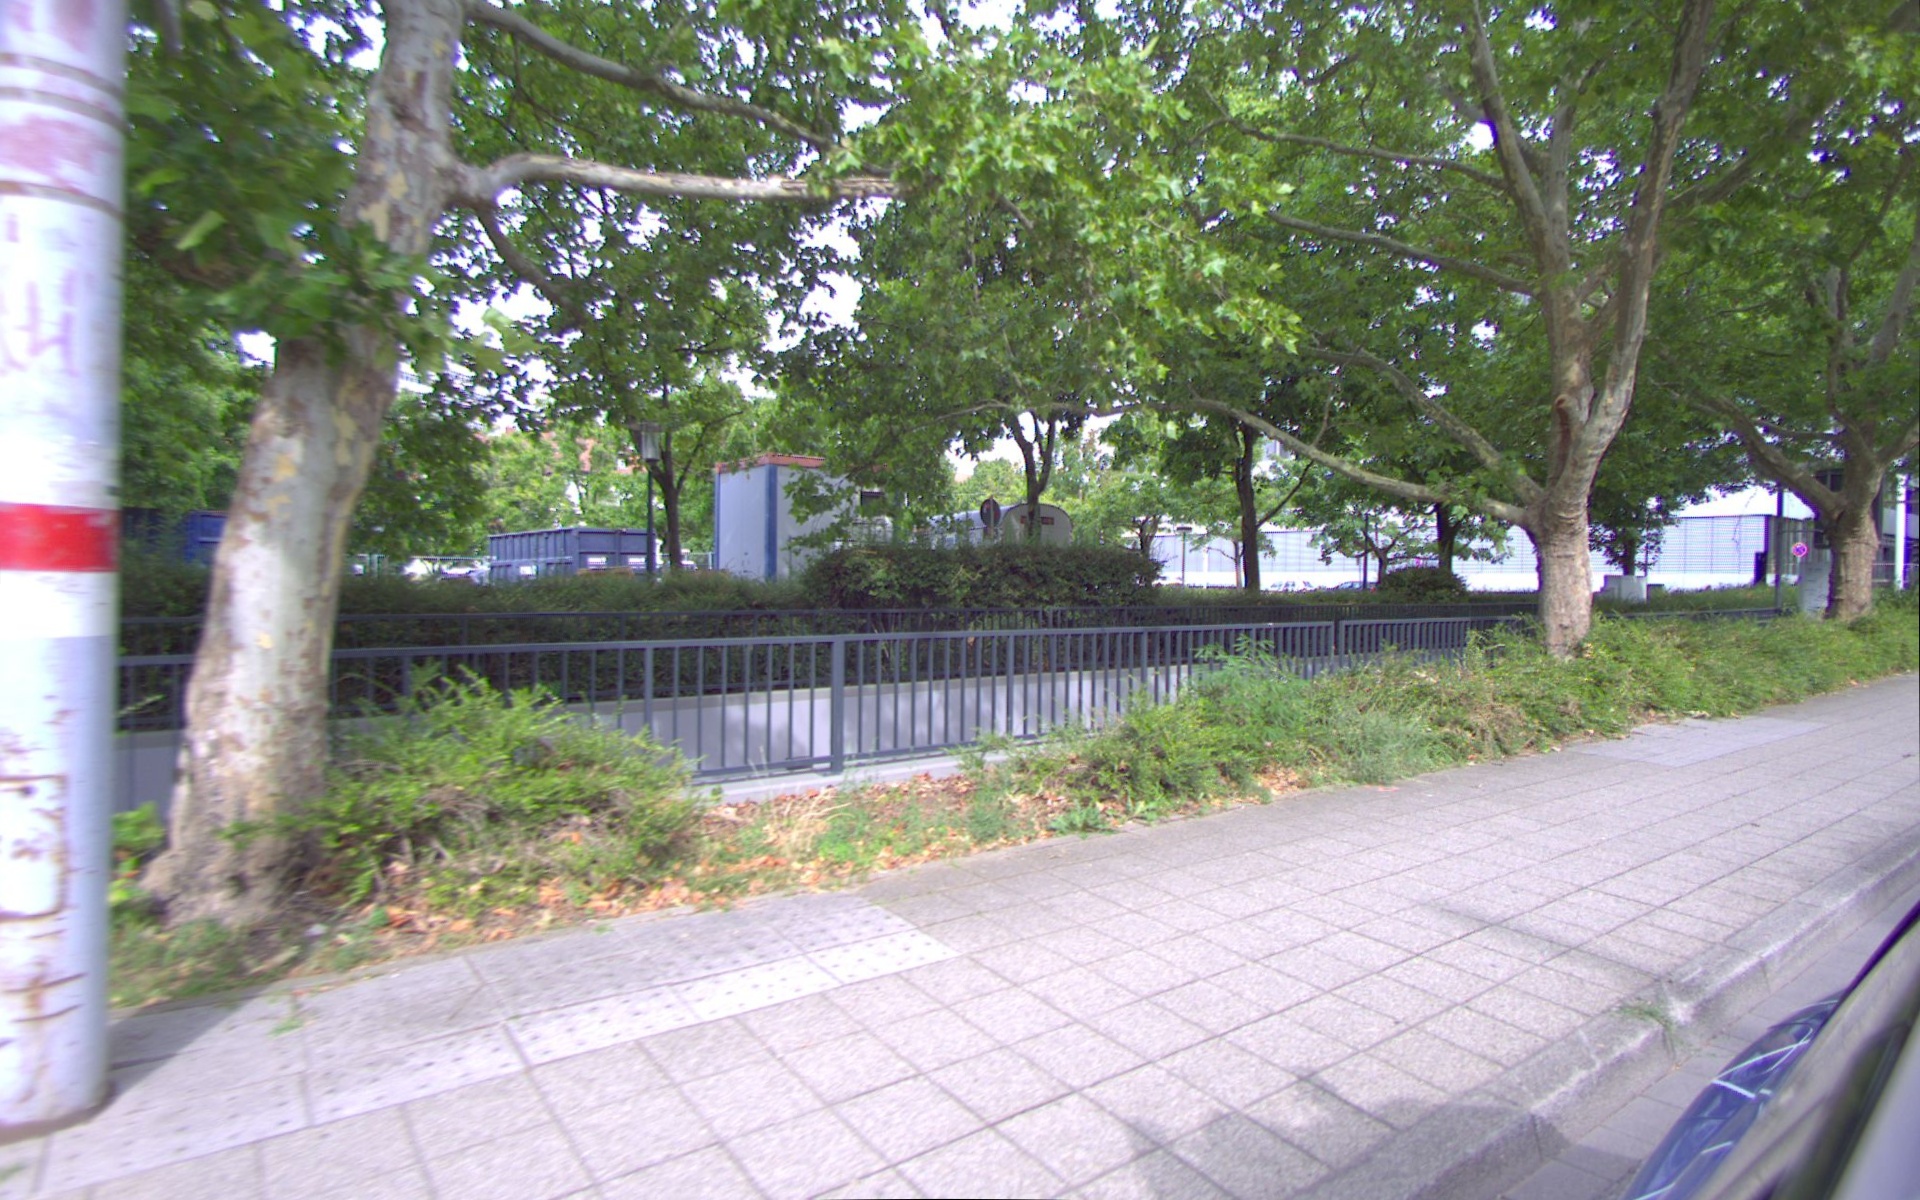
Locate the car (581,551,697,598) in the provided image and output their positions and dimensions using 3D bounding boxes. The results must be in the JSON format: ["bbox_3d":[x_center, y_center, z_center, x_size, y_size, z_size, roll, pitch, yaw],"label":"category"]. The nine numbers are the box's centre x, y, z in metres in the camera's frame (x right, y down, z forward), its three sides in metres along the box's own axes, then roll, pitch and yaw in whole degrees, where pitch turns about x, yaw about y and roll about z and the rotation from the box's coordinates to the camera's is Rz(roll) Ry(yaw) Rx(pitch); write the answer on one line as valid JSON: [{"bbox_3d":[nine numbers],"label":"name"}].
[{"bbox_3d":[-14.580,-1.107,46.118,4.690,2.039,1.996,0,-1,-42],"label":"car"}]

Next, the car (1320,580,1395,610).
[{"bbox_3d":[25.305,-0.302,64.462,3.988,1.883,1.968,0,-1,45],"label":"car"}]

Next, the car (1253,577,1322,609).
[{"bbox_3d":[21.938,-0.442,67.820,3.988,2.039,1.968,0,-1,45],"label":"car"}]

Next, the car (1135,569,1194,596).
[{"bbox_3d":[15.218,-1.280,75.396,3.867,1.885,1.922,0,-1,45],"label":"car"}]

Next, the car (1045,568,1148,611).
[{"bbox_3d":[6.175,-0.442,45.475,4.688,1.817,1.997,0,-1,-40],"label":"car"}]

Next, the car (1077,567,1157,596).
[{"bbox_3d":[9.431,-1.080,60.666,4.683,1.651,2.000,0,0,-36],"label":"car"}]
